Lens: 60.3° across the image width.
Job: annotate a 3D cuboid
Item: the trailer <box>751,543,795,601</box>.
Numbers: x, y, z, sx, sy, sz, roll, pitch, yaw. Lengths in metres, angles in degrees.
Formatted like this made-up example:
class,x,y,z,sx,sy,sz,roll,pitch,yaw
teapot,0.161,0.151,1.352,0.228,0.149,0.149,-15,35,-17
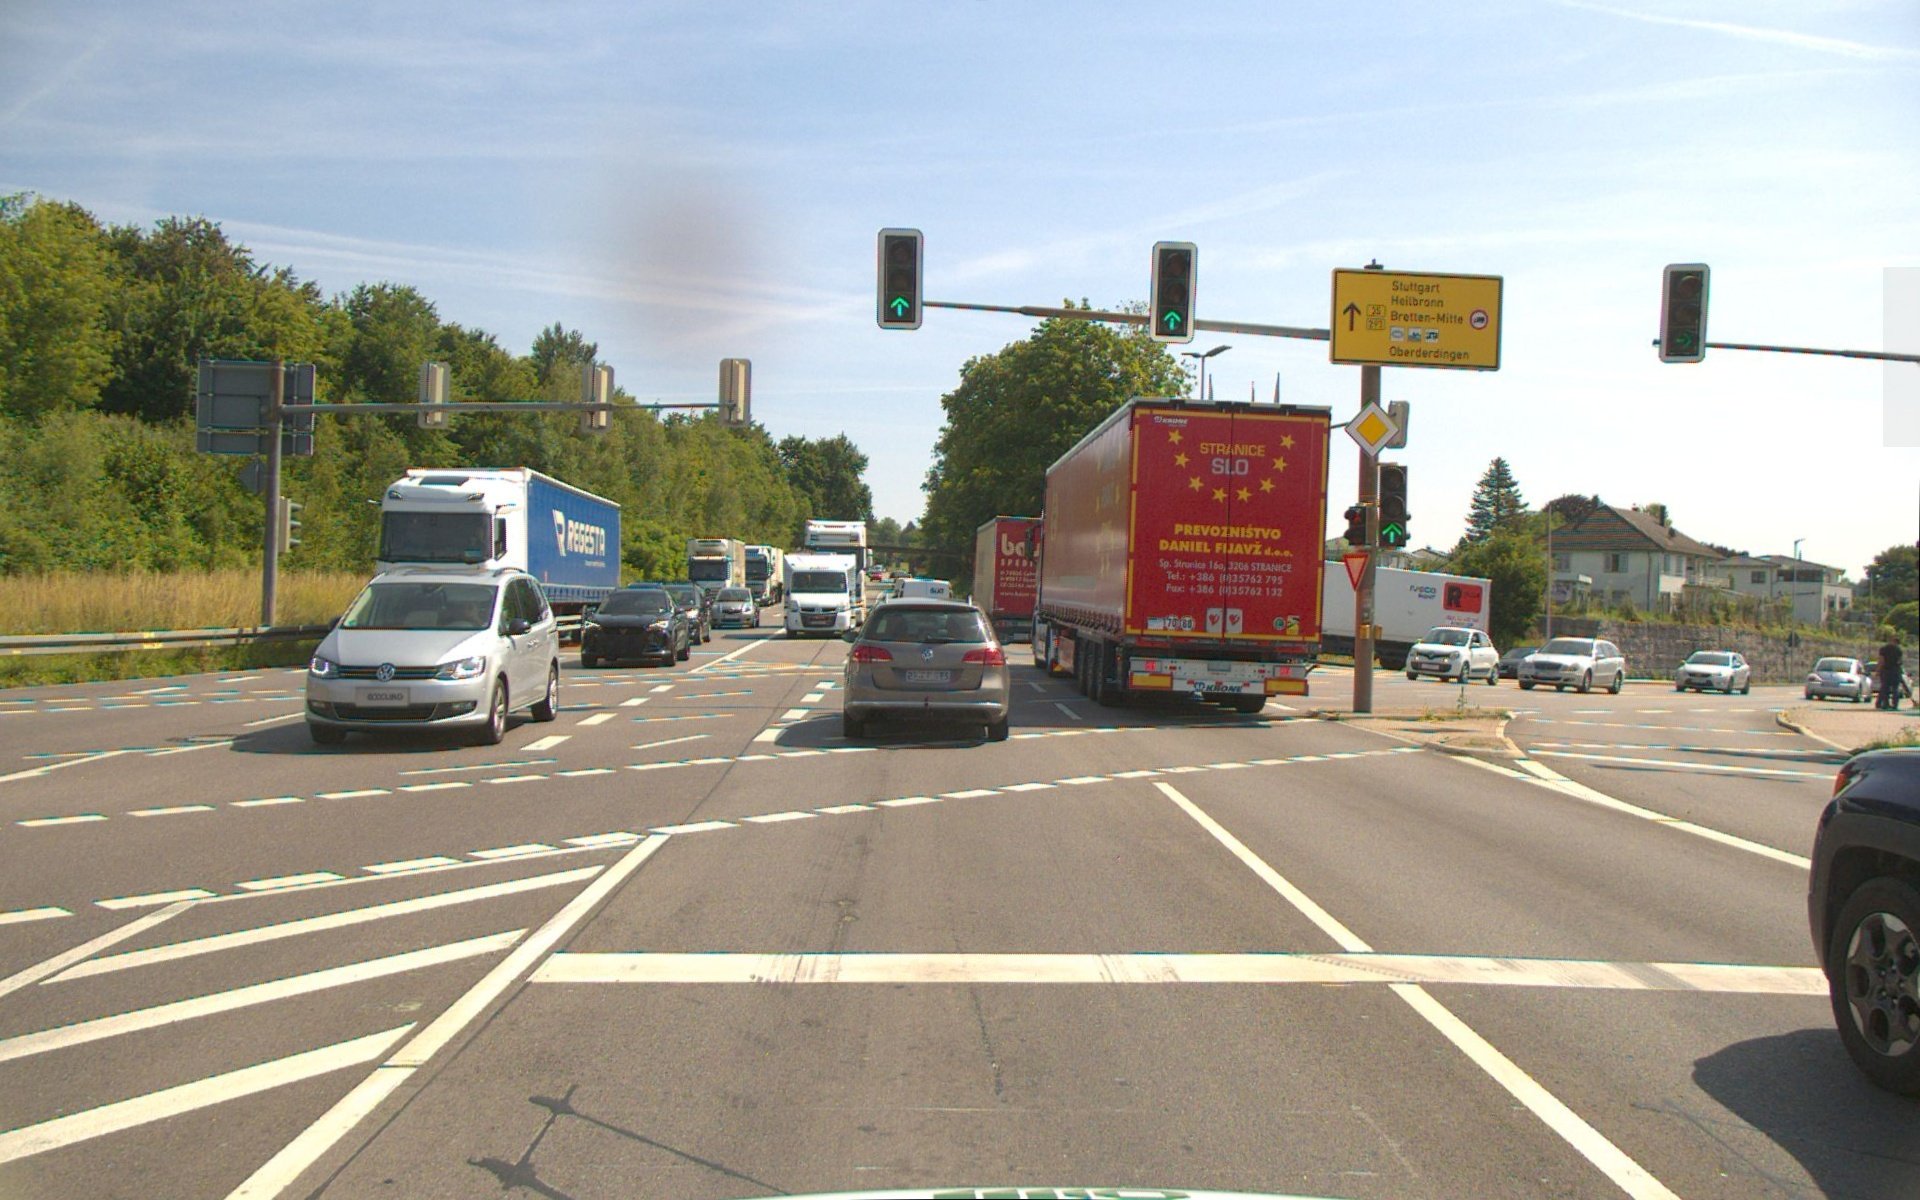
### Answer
class,x,y,z,sx,sy,sz,roll,pitch,yaw
trailer,-13.936,-2.046,123.670,2.784,4.141,8.750,0,0,-4

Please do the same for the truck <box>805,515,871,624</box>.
class,x,y,z,sx,sy,sz,roll,pitch,yaw
truck,-4.882,-1.173,66.290,2.487,4.159,6.261,0,0,-4

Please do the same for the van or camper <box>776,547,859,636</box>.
class,x,y,z,sx,sy,sz,roll,pitch,yaw
van or camper,-4.449,-0.269,52.701,2.283,2.645,6.976,0,0,-2

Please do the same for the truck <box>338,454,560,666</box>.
class,x,y,z,sx,sy,sz,roll,pitch,yaw
truck,-10.841,-0.802,35.788,3.124,4.151,6.341,0,0,-4

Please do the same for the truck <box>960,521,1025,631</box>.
class,x,y,z,sx,sy,sz,roll,pitch,yaw
truck,1.253,-0.945,66.010,2.357,4.200,5.520,0,0,-1

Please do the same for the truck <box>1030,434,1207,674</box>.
class,x,y,z,sx,sy,sz,roll,pitch,yaw
truck,3.084,-0.865,33.779,2.812,4.355,5.838,2,0,-1

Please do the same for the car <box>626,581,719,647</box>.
class,x,y,z,sx,sy,sz,roll,pitch,yaw
car,-7.934,0.368,46.005,1.953,1.756,3.999,0,0,-1

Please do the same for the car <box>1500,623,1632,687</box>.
class,x,y,z,sx,sy,sz,roll,pitch,yaw
car,16.639,1.534,45.245,1.962,1.531,4.977,3,-1,38

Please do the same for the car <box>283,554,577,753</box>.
class,x,y,z,sx,sy,sz,roll,pitch,yaw
car,-5.402,0.454,17.507,1.806,1.762,4.586,2,1,-3

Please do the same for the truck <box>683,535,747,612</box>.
class,x,y,z,sx,sy,sz,roll,pitch,yaw
truck,-13.594,-1.421,92.479,2.675,4.069,9.614,0,0,-3

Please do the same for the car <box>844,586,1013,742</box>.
class,x,y,z,sx,sy,sz,roll,pitch,yaw
car,-0.423,0.625,18.321,1.658,1.539,3.997,0,0,-3

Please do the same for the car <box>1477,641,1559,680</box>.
class,x,y,z,sx,sy,sz,roll,pitch,yaw
car,22.961,2.506,67.986,1.961,1.486,4.302,1,-2,37

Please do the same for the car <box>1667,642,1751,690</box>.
class,x,y,z,sx,sy,sz,roll,pitch,yaw
car,26.929,2.380,59.391,1.881,1.524,3.983,3,-1,37

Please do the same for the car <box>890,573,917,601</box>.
class,x,y,z,sx,sy,sz,roll,pitch,yaw
car,-4.269,-0.970,125.188,1.954,2.049,3.998,0,0,-3

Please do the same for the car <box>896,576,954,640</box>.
class,x,y,z,sx,sy,sz,roll,pitch,yaw
car,-1.156,0.245,53.442,1.735,1.970,3.975,0,0,-3

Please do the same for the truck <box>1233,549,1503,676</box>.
class,x,y,z,sx,sy,sz,roll,pitch,yaw
truck,15.042,0.491,60.870,9.527,3.690,2.752,6,-2,-20

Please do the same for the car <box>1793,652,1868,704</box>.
class,x,y,z,sx,sy,sz,roll,pitch,yaw
car,30.677,2.725,58.237,1.958,1.602,3.989,4,0,33

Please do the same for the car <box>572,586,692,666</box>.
class,x,y,z,sx,sy,sz,roll,pitch,yaw
car,-6.591,0.489,33.653,1.955,1.511,4.449,0,0,-6

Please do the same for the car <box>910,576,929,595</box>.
class,x,y,z,sx,sy,sz,roll,pitch,yaw
car,-4.329,-1.547,177.369,1.954,2.049,3.998,0,0,-3

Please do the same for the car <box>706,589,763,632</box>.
class,x,y,z,sx,sy,sz,roll,pitch,yaw
car,-8.391,0.368,61.825,1.690,1.528,3.999,0,0,-1

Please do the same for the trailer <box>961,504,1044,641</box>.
class,x,y,z,sx,sy,sz,roll,pitch,yaw
trailer,1.364,-0.909,59.155,2.346,4.317,13.075,0,0,-1

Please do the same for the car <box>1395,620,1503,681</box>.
class,x,y,z,sx,sy,sz,roll,pitch,yaw
car,13.859,1.433,46.775,1.678,1.530,3.739,3,-1,37

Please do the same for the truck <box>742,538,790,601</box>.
class,x,y,z,sx,sy,sz,roll,pitch,yaw
truck,-13.368,-2.050,114.542,2.773,4.188,9.675,0,0,-4

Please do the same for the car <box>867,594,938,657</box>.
class,x,y,z,sx,sy,sz,roll,pitch,yaw
car,-1.517,0.619,42.525,1.735,1.539,3.997,0,0,-3

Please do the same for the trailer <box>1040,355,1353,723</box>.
class,x,y,z,sx,sy,sz,roll,pitch,yaw
trailer,3.259,-0.790,27.127,2.782,4.441,13.163,2,0,-1

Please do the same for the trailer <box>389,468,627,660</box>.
class,x,y,z,sx,sy,sz,roll,pitch,yaw
trailer,-11.223,-0.809,42.958,3.031,4.151,14.118,0,0,-3

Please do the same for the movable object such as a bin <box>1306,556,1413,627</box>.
class,x,y,z,sx,sy,sz,roll,pitch,yaw
movable object such as a bin,19.174,-0.395,79.111,2.841,3.264,6.684,0,0,34

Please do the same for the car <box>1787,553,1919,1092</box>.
class,x,y,z,sx,sy,sz,roll,pitch,yaw
car,3.887,0.706,3.988,1.734,1.683,3.999,0,0,-1
